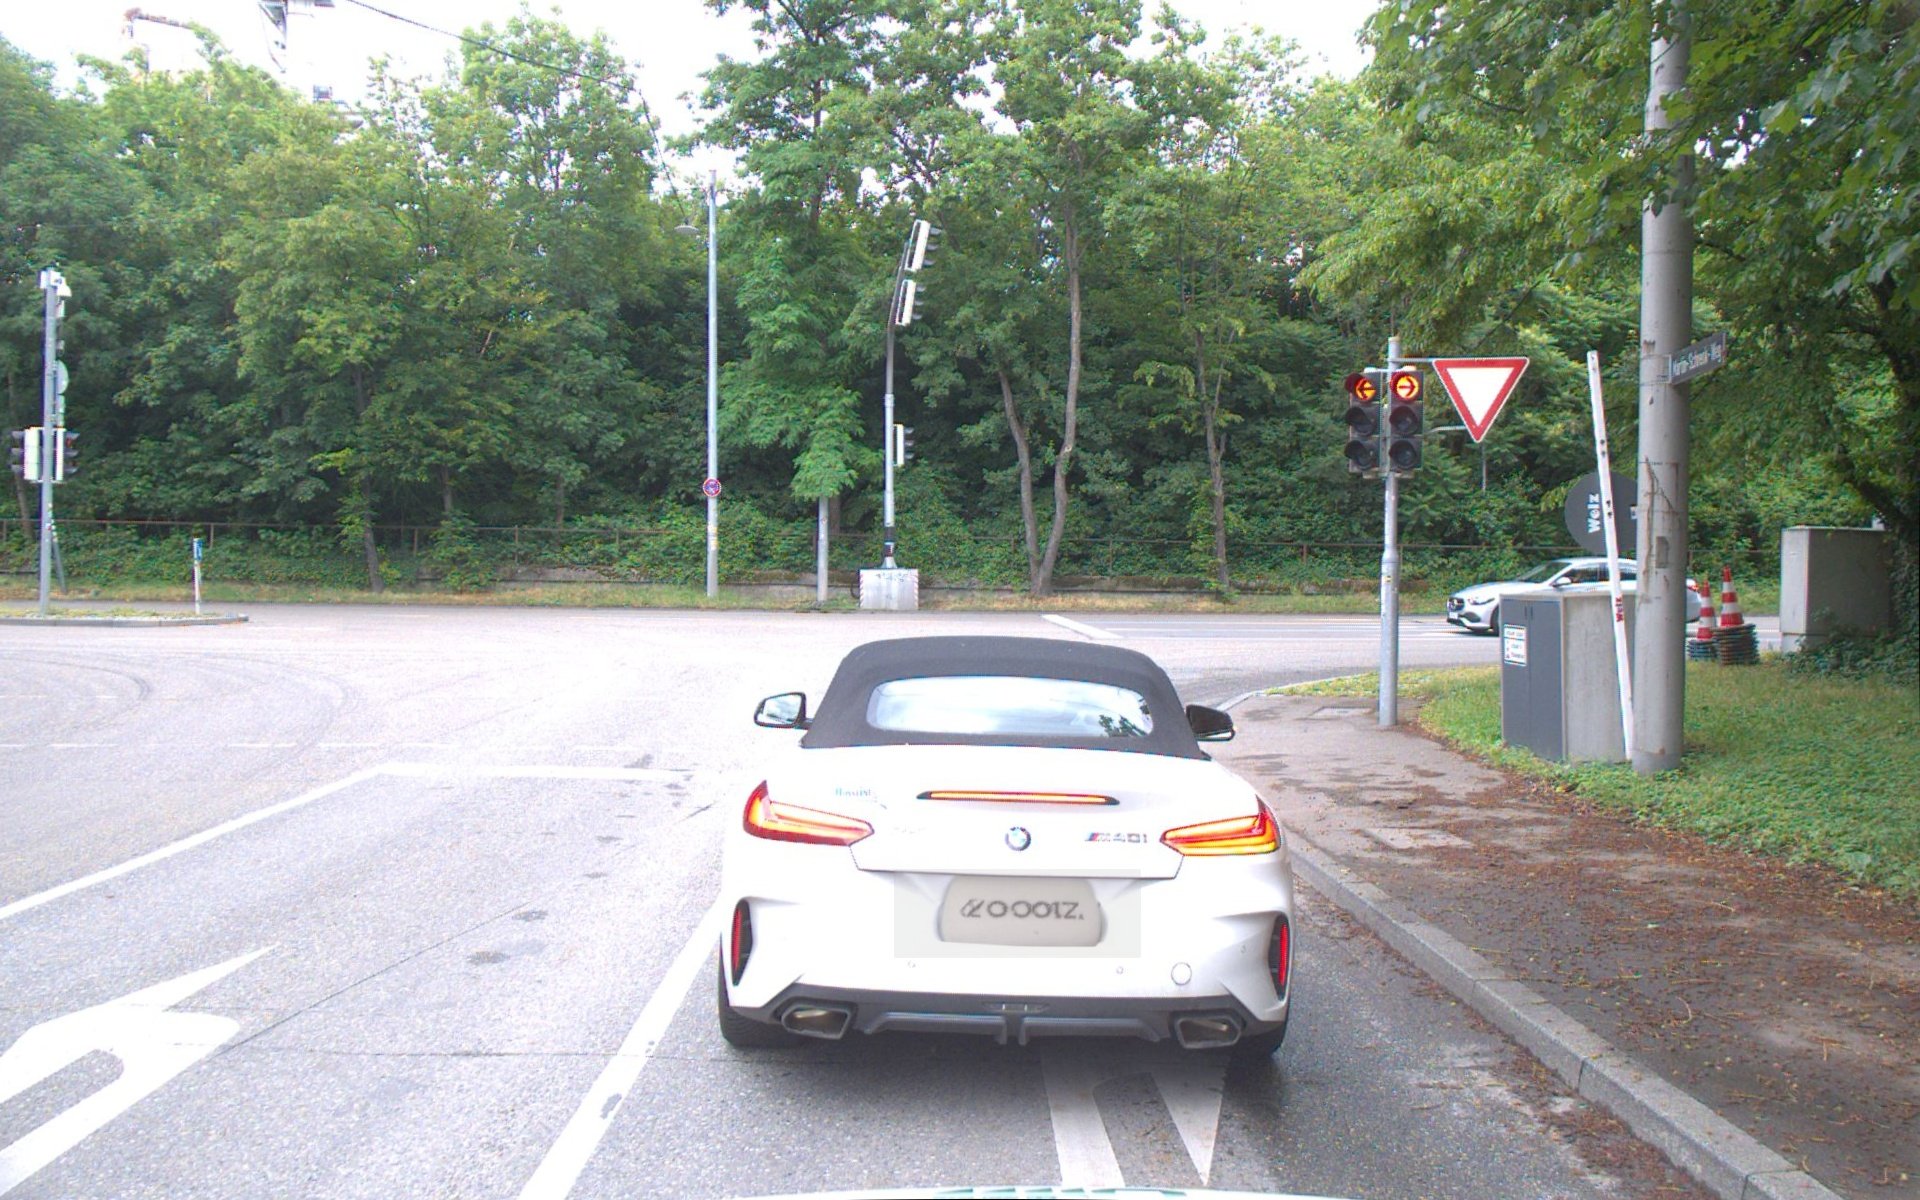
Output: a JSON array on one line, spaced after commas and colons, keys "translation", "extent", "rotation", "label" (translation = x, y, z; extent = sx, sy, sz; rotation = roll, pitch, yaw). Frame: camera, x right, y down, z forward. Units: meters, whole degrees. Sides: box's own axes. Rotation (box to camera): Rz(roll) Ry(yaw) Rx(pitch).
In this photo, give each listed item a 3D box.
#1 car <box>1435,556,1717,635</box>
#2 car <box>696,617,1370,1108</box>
[{"translation": [11.619, -0.107, 31.389], "extent": [4.655, 1.356, 1.834], "rotation": [1, 3, -1], "label": "car"}, {"translation": [0.112, 0.753, 6.455], "extent": [1.791, 1.279, 3.997], "rotation": [2, -1, -3], "label": "car"}]
